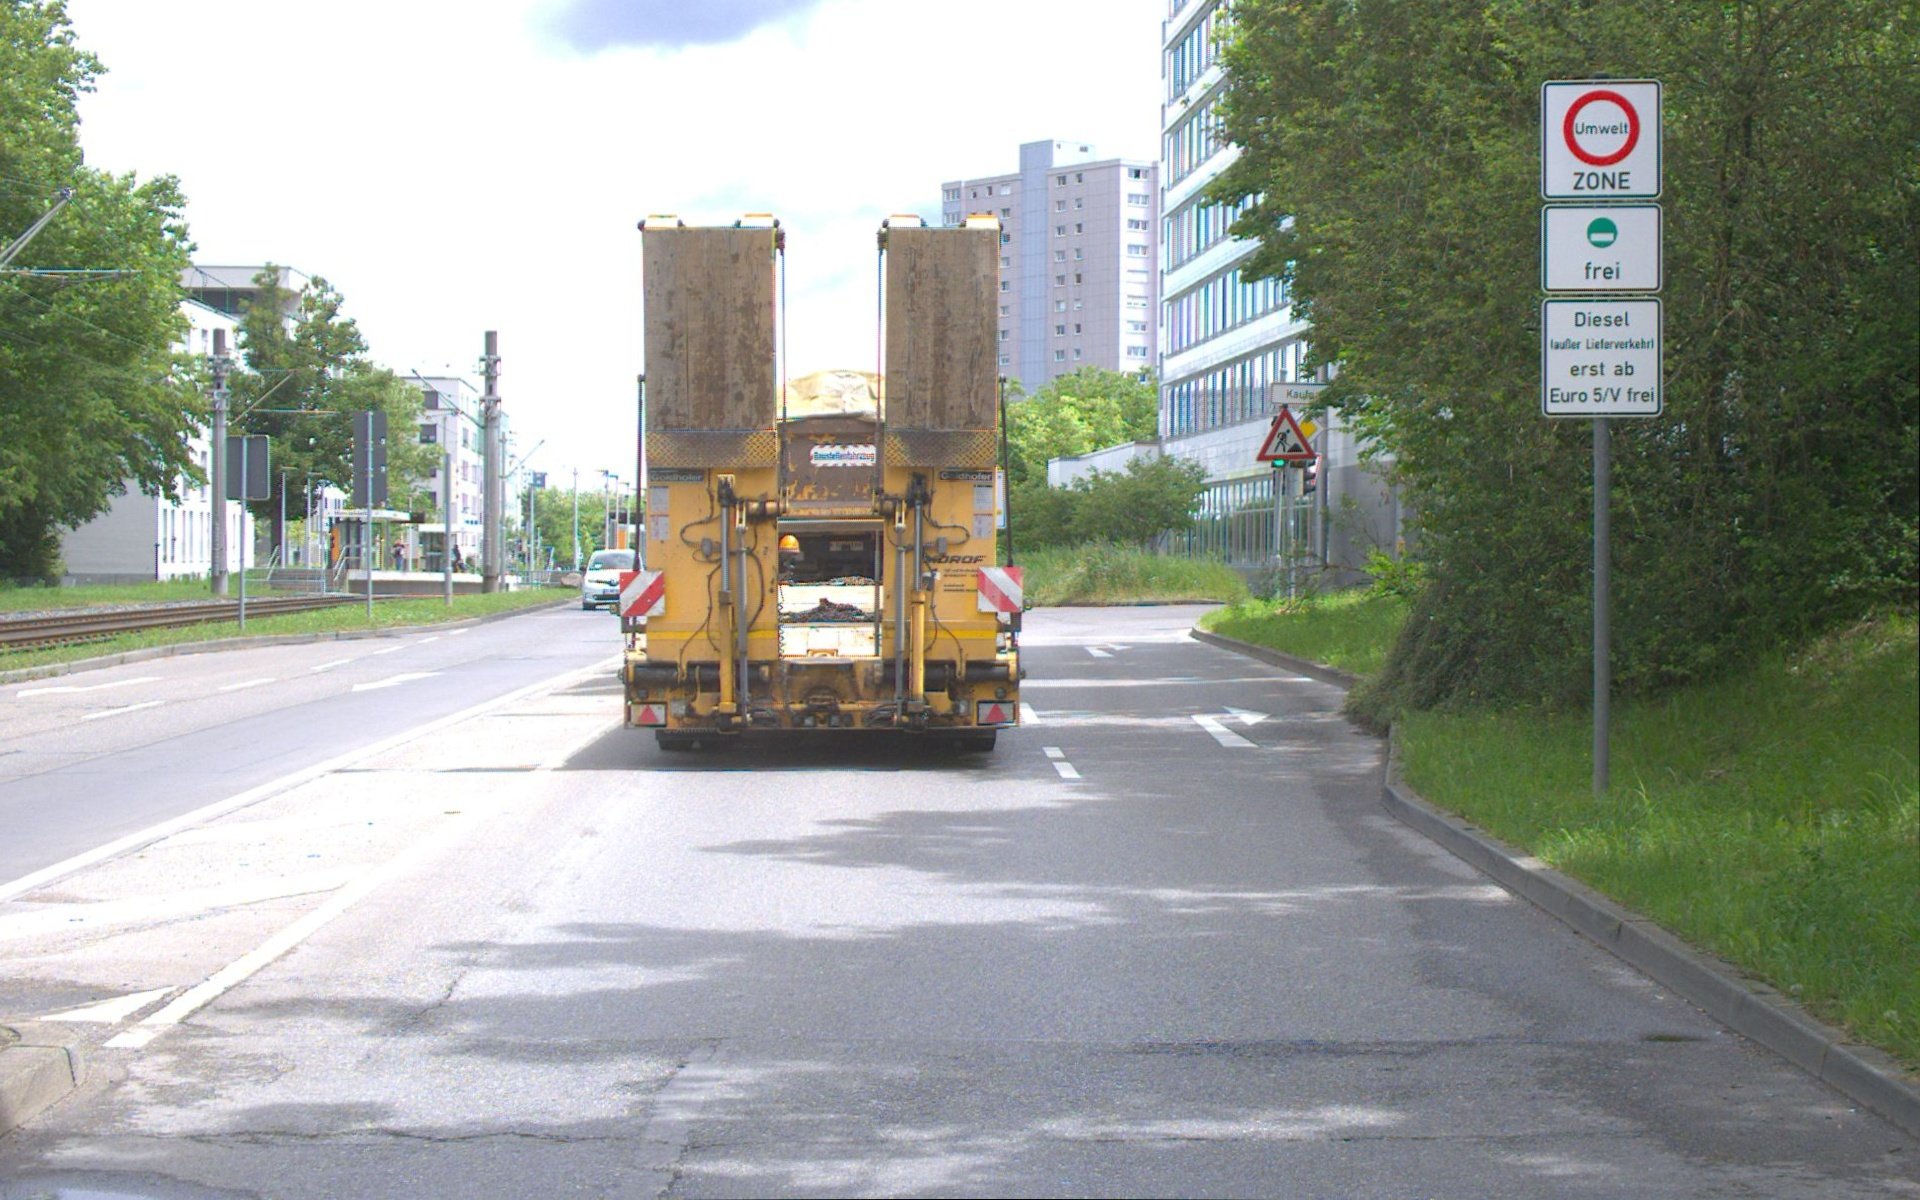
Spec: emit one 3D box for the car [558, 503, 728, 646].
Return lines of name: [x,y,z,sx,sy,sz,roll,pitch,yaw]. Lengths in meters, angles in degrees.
car: [-4.564,-0.405,49.963,1.993,1.919,4.000,2,1,1]

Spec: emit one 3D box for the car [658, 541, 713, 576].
car: [-10.115,-1.539,126.966,1.783,1.267,4.345,0,1,-2]

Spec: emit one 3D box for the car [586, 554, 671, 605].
car: [-8.575,-0.547,89.195,1.784,1.267,4.345,0,1,0]

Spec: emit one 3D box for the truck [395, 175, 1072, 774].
truck: [-1.232,-0.909,27.756,3.317,3.638,12.559,2,1,6]

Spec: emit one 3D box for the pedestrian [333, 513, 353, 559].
pedestrian: [-27.486,-2.852,153.162,0.653,2.007,0.653,2,1,6]

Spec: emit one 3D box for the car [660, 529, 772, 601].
car: [-5.160,-0.762,73.084,1.993,1.415,4.000,2,1,1]
